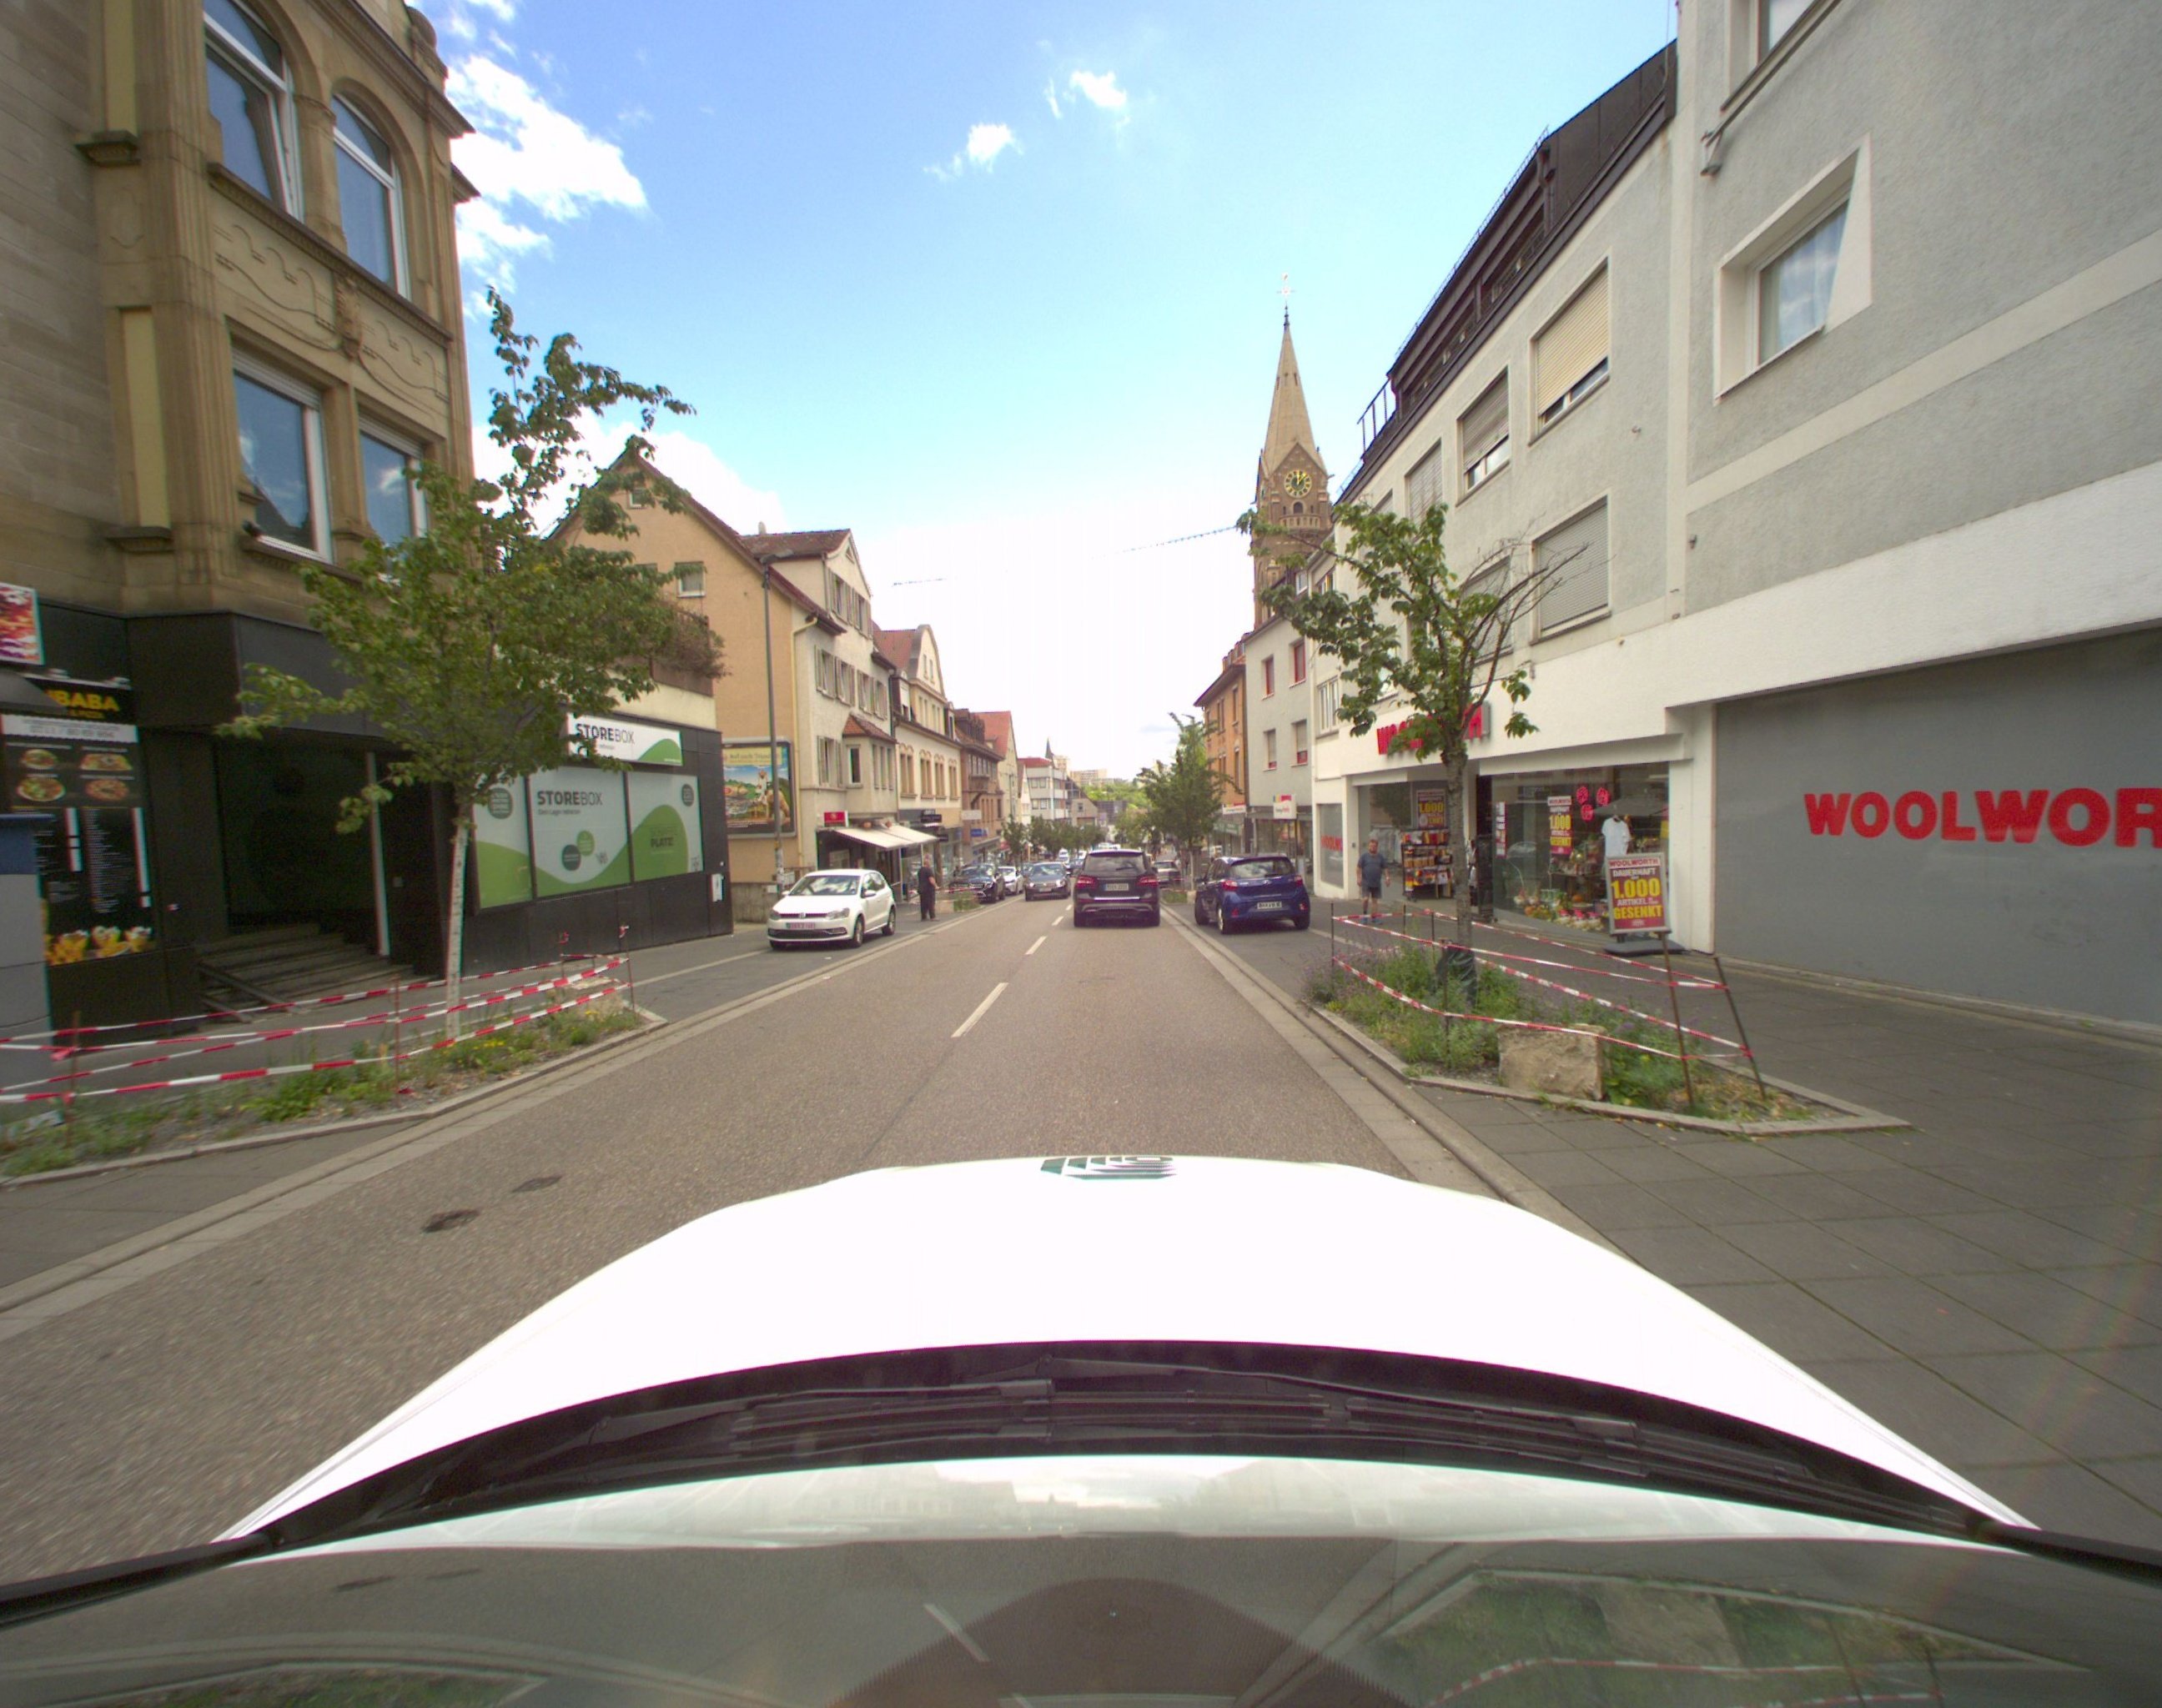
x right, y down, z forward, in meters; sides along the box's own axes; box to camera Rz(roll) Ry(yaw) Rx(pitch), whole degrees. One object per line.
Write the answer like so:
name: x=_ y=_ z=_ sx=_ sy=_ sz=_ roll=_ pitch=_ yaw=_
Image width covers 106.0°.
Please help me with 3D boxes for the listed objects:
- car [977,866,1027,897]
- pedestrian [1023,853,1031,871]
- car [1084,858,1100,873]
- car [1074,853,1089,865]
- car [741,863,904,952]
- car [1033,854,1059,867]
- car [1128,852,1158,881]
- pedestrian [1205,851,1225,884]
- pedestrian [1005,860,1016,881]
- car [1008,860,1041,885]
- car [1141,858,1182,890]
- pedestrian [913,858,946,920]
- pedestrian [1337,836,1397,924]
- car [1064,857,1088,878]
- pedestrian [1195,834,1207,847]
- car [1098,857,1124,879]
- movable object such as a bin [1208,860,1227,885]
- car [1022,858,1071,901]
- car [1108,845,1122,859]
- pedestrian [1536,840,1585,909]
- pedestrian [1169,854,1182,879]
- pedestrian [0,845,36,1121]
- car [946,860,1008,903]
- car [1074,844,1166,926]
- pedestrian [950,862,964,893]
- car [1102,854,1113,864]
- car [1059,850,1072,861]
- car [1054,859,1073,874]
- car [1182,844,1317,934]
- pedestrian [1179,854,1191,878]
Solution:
car: x=-3.976 y=1.376 z=41.494 sx=1.919 sy=1.430 sz=4.265 roll=-1 pitch=0 yaw=3
pedestrian: x=-5.071 y=0.765 z=76.244 sx=0.639 sy=1.667 sz=0.720 roll=-1 pitch=-1 yaw=1
car: x=1.328 y=1.327 z=98.049 sx=1.758 sy=1.617 sz=4.033 roll=-4 pitch=0 yaw=1
car: x=0.083 y=0.707 z=119.907 sx=1.919 sy=1.628 sz=4.264 roll=0 pitch=0 yaw=2
car: x=-5.065 y=0.973 z=16.622 sx=1.920 sy=1.511 sz=4.262 roll=0 pitch=0 yaw=1
car: x=-5.585 y=1.044 z=130.353 sx=3.977 sy=1.750 sz=1.998 roll=-4 pitch=-1 yaw=-2
car: x=4.593 y=0.892 z=60.853 sx=1.931 sy=1.891 sz=4.708 roll=-4 pitch=0 yaw=1
pedestrian: x=6.689 y=0.653 z=40.739 sx=0.733 sy=1.585 sz=1.000 roll=-4 pitch=-1 yaw=1
pedestrian: x=-5.544 y=1.287 z=64.001 sx=0.724 sy=1.667 sz=0.720 roll=-1 pitch=-1 yaw=1
car: x=-3.766 y=1.244 z=55.004 sx=1.921 sy=1.496 sz=4.260 roll=-2 pitch=0 yaw=-1
car: x=4.264 y=1.036 z=43.464 sx=1.742 sy=1.465 sz=4.075 roll=-5 pitch=0 yaw=1
pedestrian: x=-4.186 y=0.946 z=22.555 sx=0.735 sy=1.672 sz=0.862 roll=-2 pitch=0 yaw=-1
pedestrian: x=5.306 y=0.475 z=15.162 sx=0.754 sy=1.561 sz=0.817 roll=-2 pitch=0 yaw=-1
car: x=-0.461 y=1.206 z=76.409 sx=1.985 sy=1.718 sz=4.447 roll=-5 pitch=0 yaw=1
pedestrian: x=11.452 y=-1.296 z=77.616 sx=0.986 sy=1.231 sz=0.984 roll=-2 pitch=-1 yaw=3
car: x=2.316 y=1.058 z=63.457 sx=1.919 sy=1.628 sz=4.264 roll=0 pitch=0 yaw=2
movable object such as a bin: x=6.679 y=0.906 z=39.827 sx=0.719 sy=1.158 sz=0.907 roll=-4 pitch=-1 yaw=1
car: x=-1.413 y=1.049 z=34.943 sx=1.813 sy=1.618 sz=4.135 roll=-4 pitch=-1 yaw=0
car: x=6.314 y=-0.382 z=149.760 sx=2.163 sy=2.364 sz=4.630 roll=-5 pitch=0 yaw=6
pedestrian: x=9.033 y=0.381 z=15.359 sx=0.503 sy=1.266 sz=0.587 roll=-2 pitch=-1 yaw=-3
pedestrian: x=6.590 y=0.869 z=56.807 sx=0.670 sy=1.632 sz=0.669 roll=-4 pitch=-1 yaw=-1
pedestrian: x=-7.013 y=0.802 z=4.869 sx=0.584 sy=1.713 sz=0.711 roll=0 pitch=0 yaw=1
car: x=-4.240 y=1.084 z=33.820 sx=1.920 sy=1.621 sz=4.639 roll=0 pitch=-1 yaw=1
car: x=0.904 y=0.654 z=19.310 sx=1.936 sy=1.740 sz=4.181 roll=0 pitch=0 yaw=2
pedestrian: x=-6.427 y=1.224 z=42.214 sx=0.545 sy=1.576 sz=0.863 roll=-3 pitch=0 yaw=1
car: x=4.253 y=0.749 z=131.236 sx=1.806 sy=1.508 sz=4.001 roll=-2 pitch=0 yaw=1
car: x=-2.330 y=0.207 z=122.935 sx=1.920 sy=1.628 sz=4.414 roll=0 pitch=0 yaw=0
car: x=-2.007 y=1.406 z=95.638 sx=1.919 sy=1.628 sz=4.264 roll=-1 pitch=0 yaw=2
car: x=3.315 y=0.684 z=16.789 sx=1.744 sy=1.498 sz=3.795 roll=-4 pitch=-1 yaw=-3
pedestrian: x=7.276 y=0.822 z=56.985 sx=0.670 sy=1.632 sz=0.669 roll=-4 pitch=-1 yaw=-1
